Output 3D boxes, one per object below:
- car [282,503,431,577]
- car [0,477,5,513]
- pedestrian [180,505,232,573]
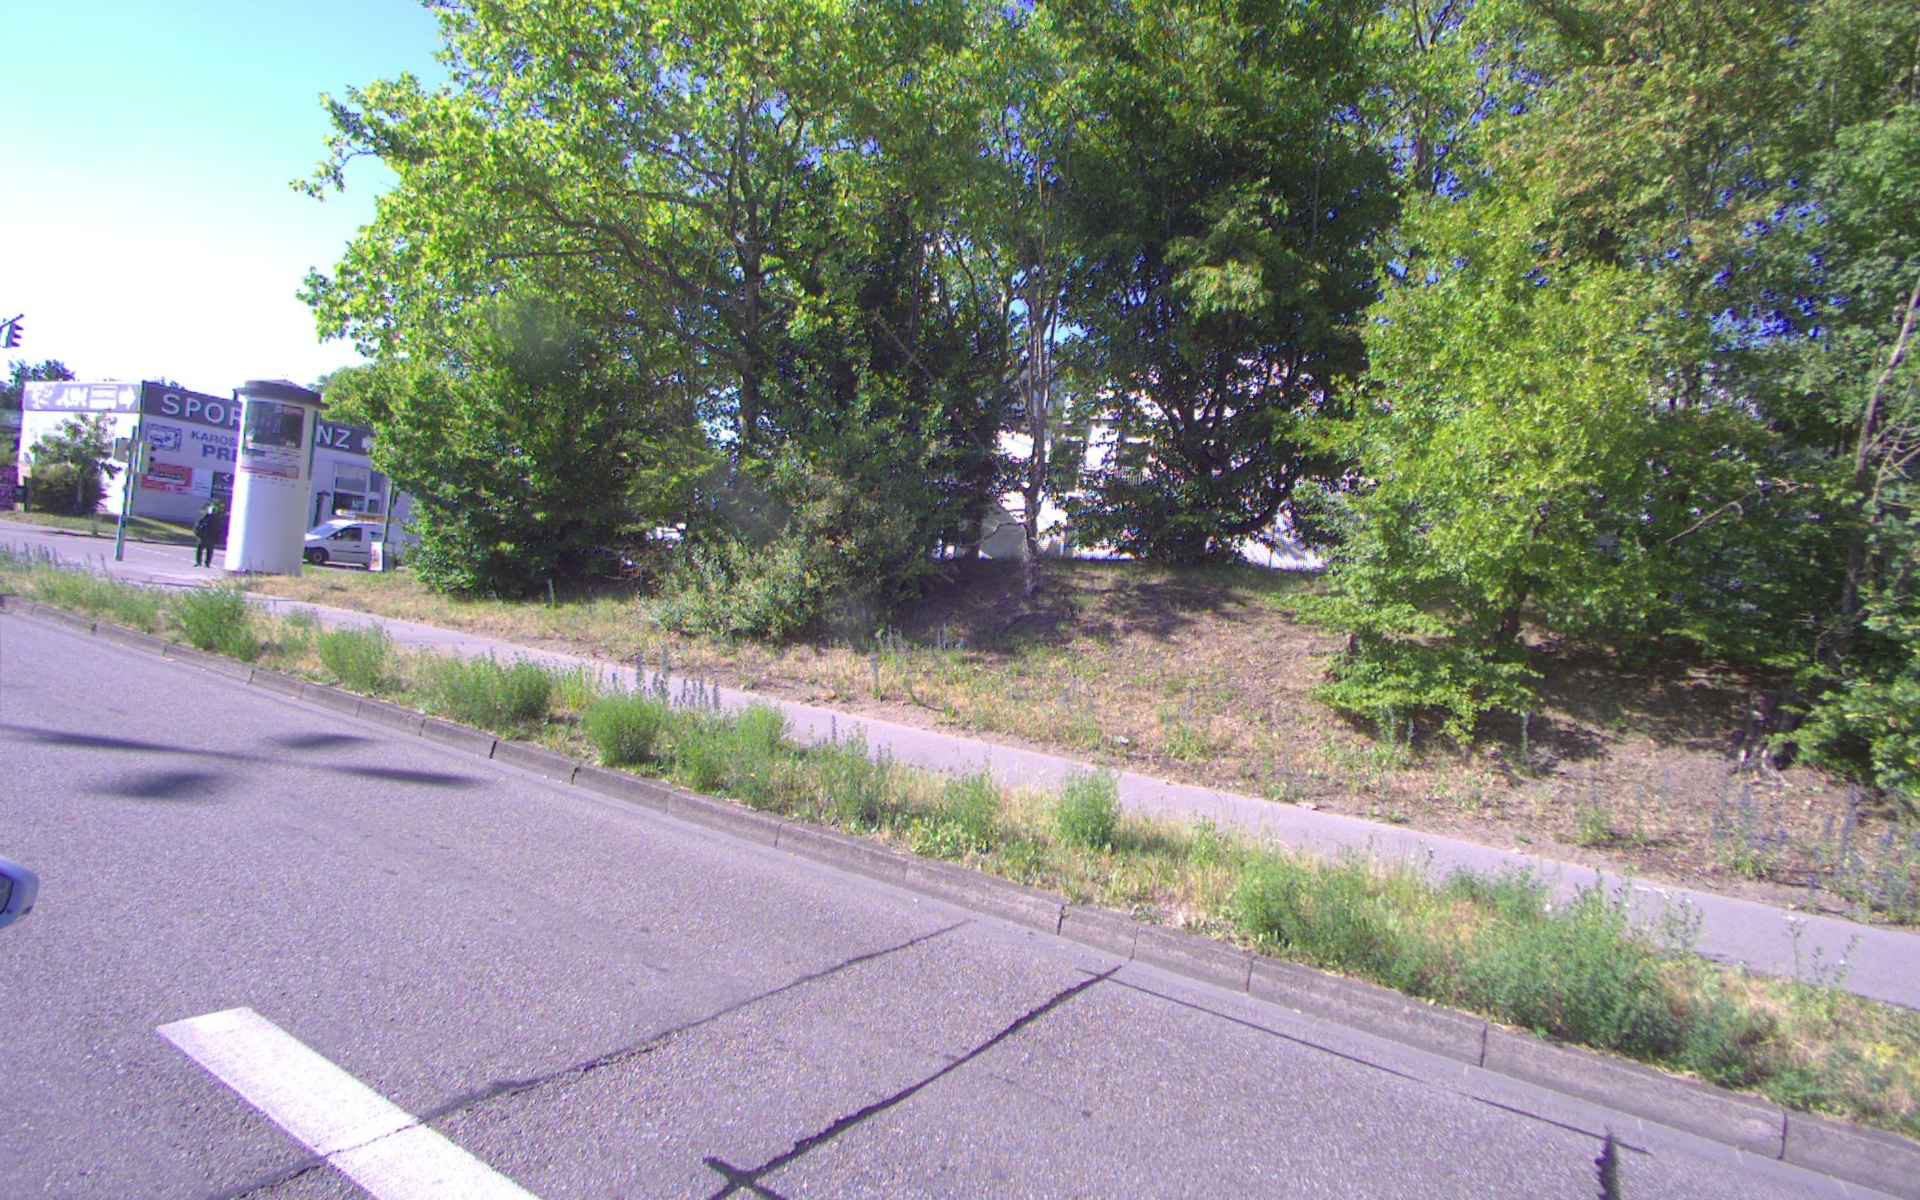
[{"bbox_3d":[-23.392,-2.289,39.174,1.965,2.171,4.415,7,-1,28],"label":"car"},{"bbox_3d":[-48.293,-5.345,47.683,1.663,1.726,4.003,7,-1,16],"label":"car"},{"bbox_3d":[-21.049,-1.698,28.084,0.841,1.743,0.822,7,0,39],"label":"pedestrian"}]
